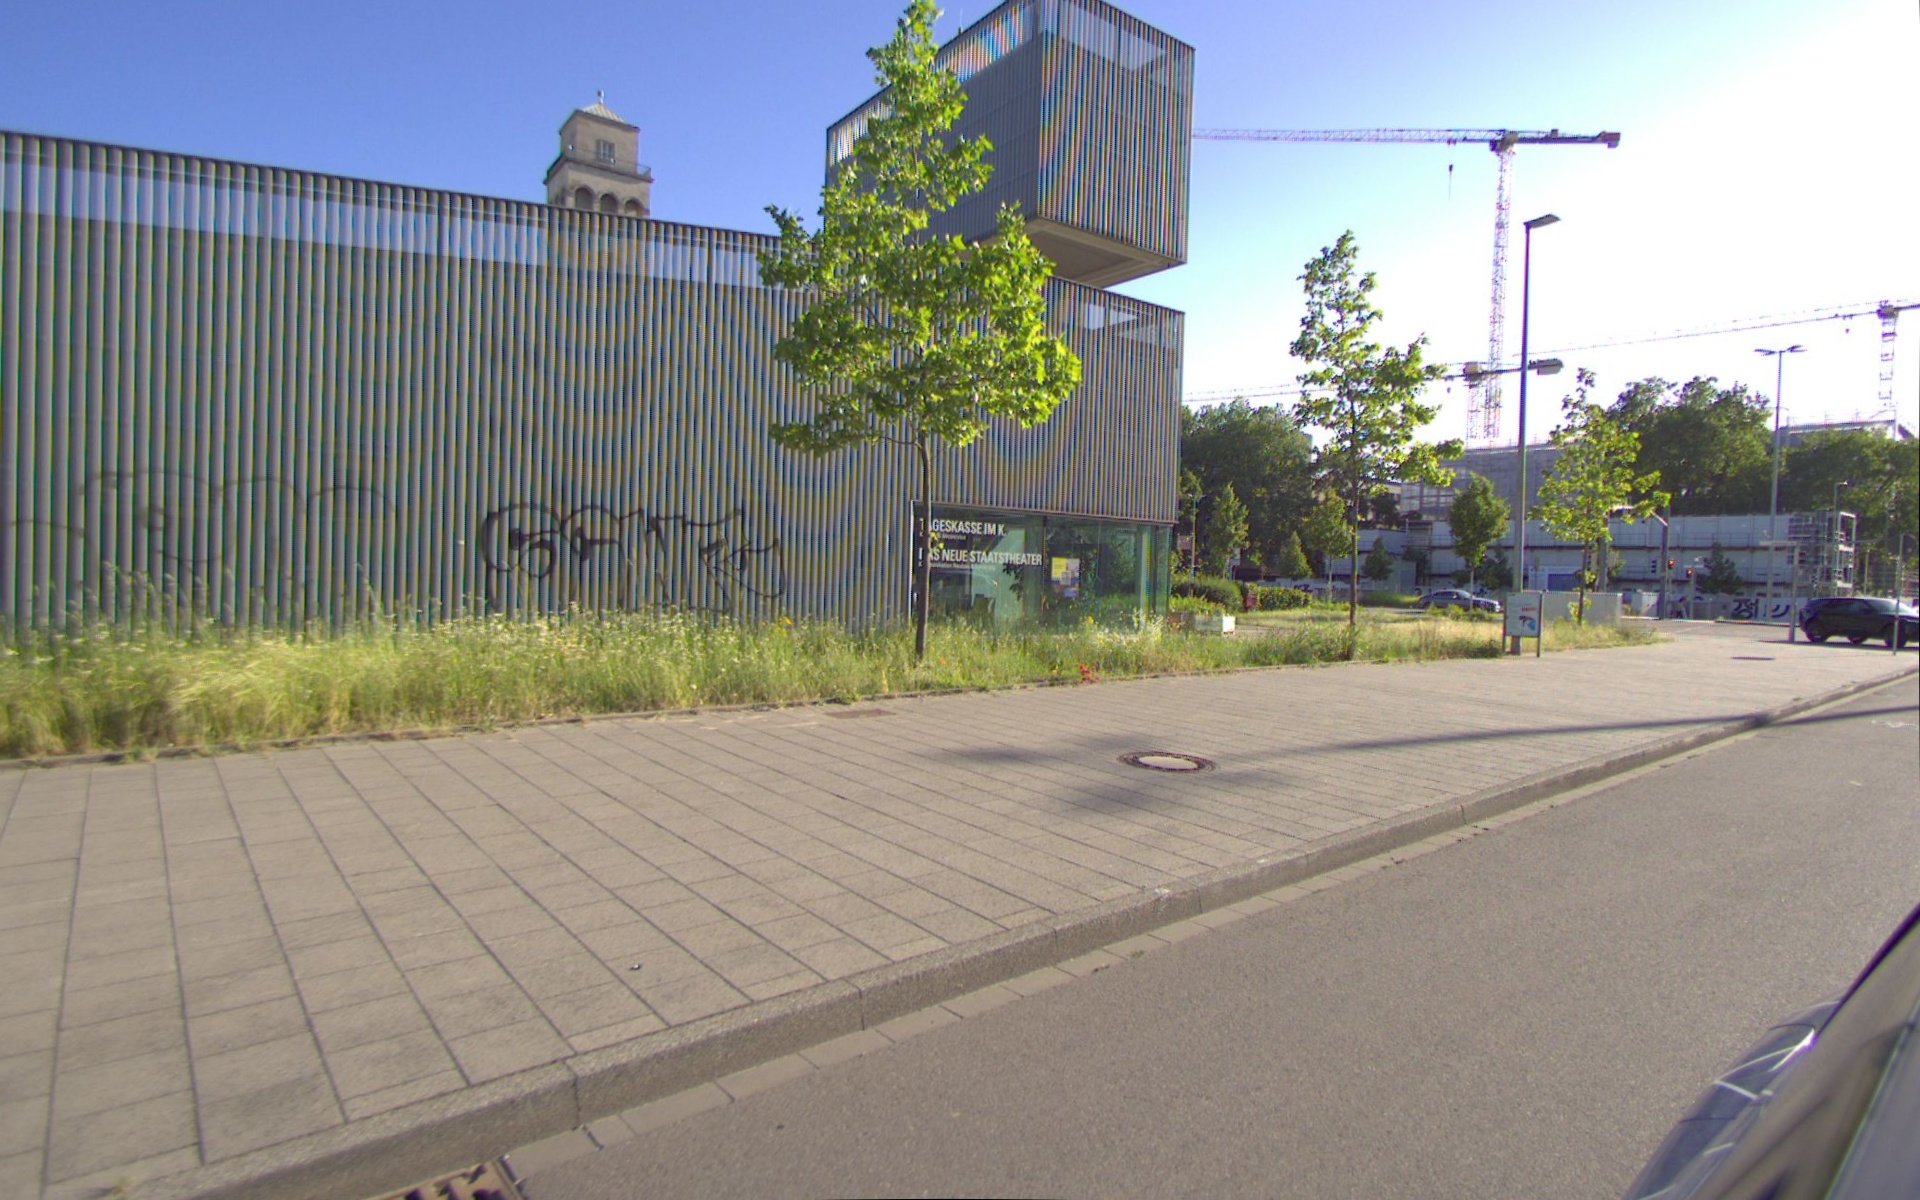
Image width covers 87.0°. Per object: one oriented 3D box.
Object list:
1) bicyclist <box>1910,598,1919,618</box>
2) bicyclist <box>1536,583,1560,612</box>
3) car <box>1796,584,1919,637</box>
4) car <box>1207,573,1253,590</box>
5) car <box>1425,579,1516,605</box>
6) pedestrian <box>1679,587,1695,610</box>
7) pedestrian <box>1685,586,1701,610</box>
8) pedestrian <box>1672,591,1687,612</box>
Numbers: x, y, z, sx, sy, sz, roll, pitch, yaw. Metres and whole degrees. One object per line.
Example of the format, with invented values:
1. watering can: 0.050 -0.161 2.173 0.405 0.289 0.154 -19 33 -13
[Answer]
1. bicyclist: 61.224 0.511 64.491 0.788 1.286 0.639 0 1 -18
2. bicyclist: 31.808 -0.158 54.729 0.614 1.522 0.936 -1 2 -41
3. car: 32.515 0.355 35.538 1.960 1.682 4.799 1 2 -6
4. car: 31.044 -2.130 116.322 5.223 1.915 2.003 0 1 -29
5. car: 30.073 -0.519 59.720 1.742 1.368 4.529 -1 3 -33
6. pedestrian: 52.091 -0.110 72.484 0.824 1.608 0.654 1 1 -34
7. pedestrian: 52.853 -0.179 73.005 0.824 1.701 0.654 1 1 -34
8. pedestrian: 51.348 0.116 72.186 0.592 1.471 0.654 1 1 -34
